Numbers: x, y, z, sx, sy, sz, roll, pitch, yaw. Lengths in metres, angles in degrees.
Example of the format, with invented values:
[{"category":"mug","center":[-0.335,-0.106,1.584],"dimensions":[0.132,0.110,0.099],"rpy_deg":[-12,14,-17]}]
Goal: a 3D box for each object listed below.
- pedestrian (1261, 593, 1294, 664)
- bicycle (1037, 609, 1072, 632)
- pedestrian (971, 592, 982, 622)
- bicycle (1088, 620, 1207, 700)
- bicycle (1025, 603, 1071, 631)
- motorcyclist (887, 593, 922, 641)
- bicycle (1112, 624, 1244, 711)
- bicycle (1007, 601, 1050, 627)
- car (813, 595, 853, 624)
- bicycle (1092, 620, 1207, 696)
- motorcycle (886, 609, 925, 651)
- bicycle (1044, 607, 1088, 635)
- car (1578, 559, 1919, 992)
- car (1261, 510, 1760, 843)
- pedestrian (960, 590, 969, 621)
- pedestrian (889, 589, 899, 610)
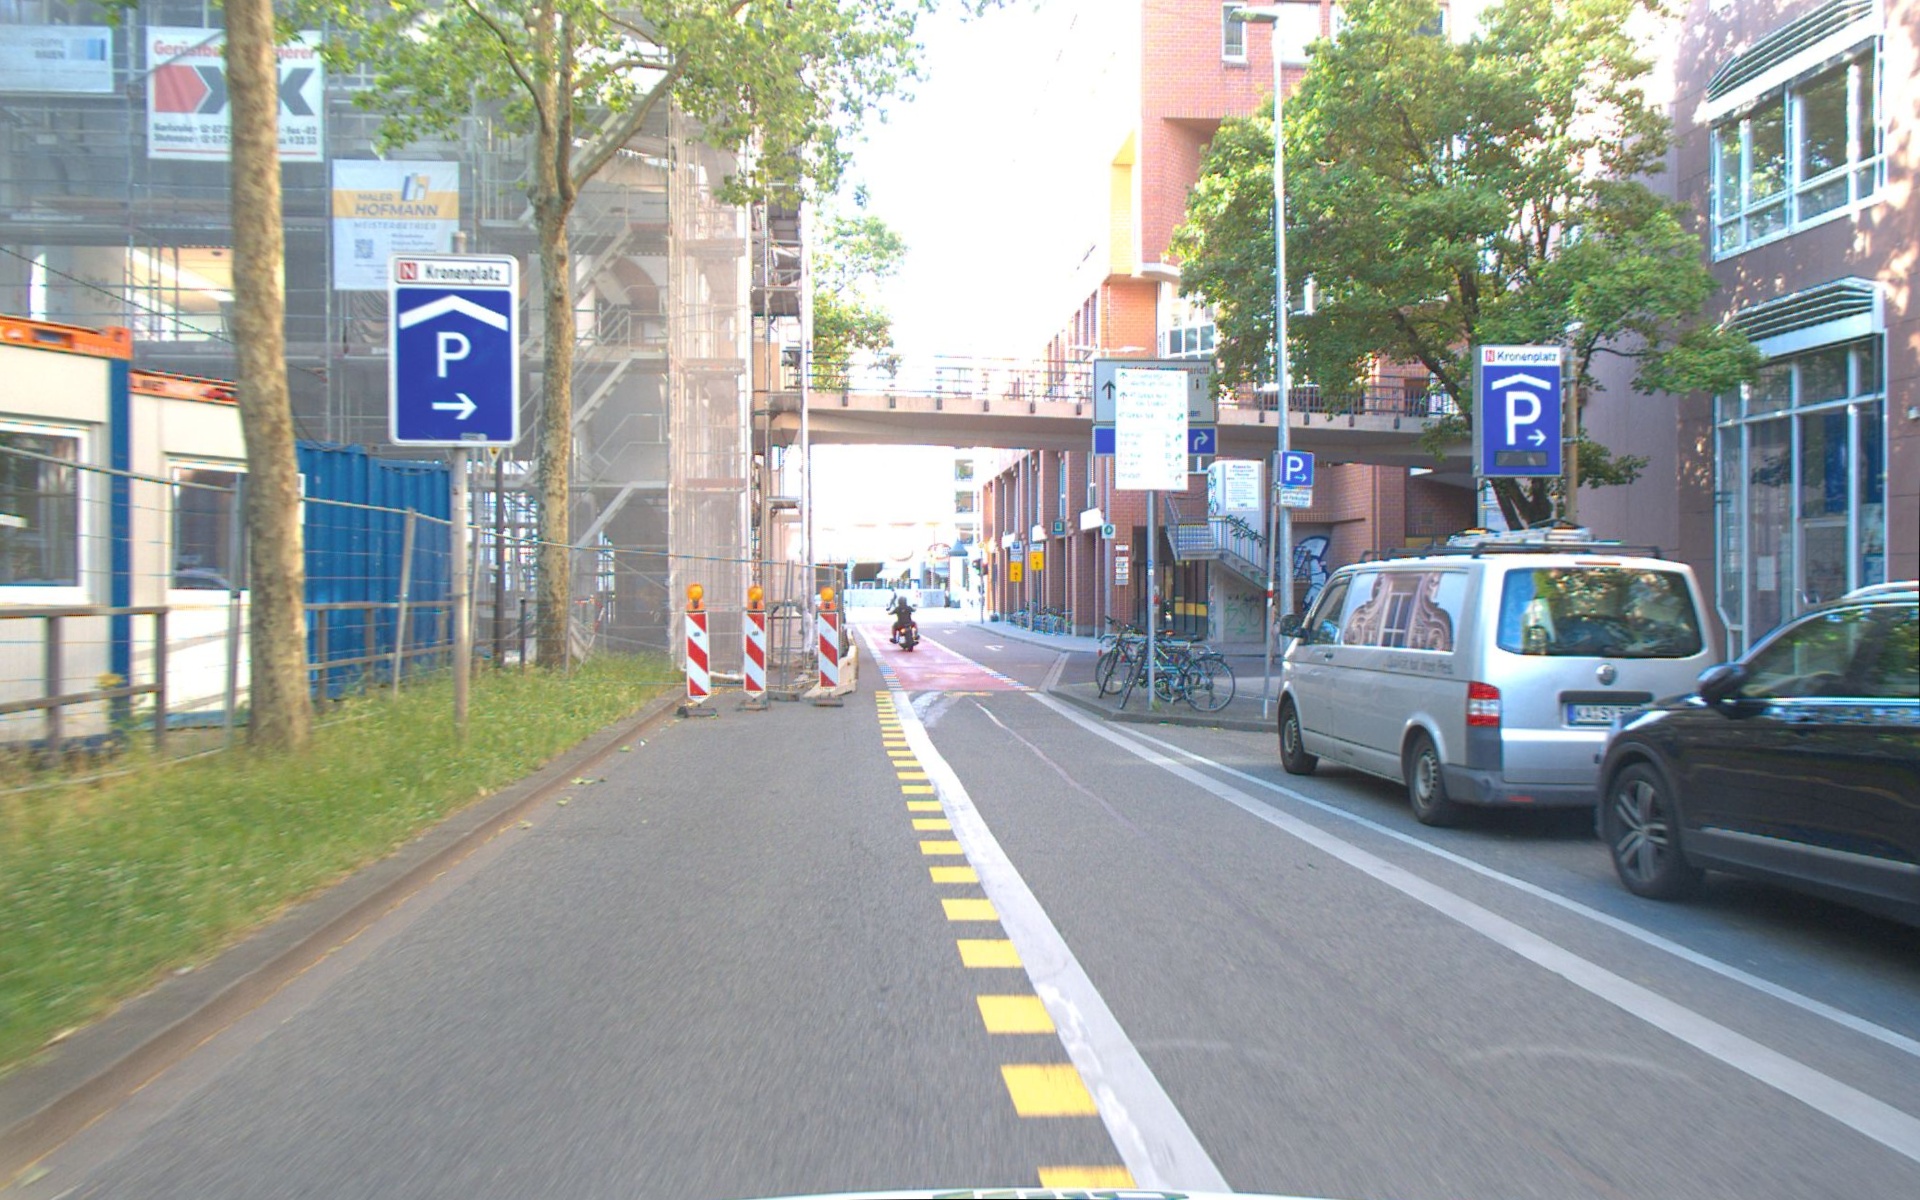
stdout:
[{"category":"pedestrian","center":[7.513,0.657,39.139],"dimensions":[0.558,1.662,0.777],"rpy_deg":[0,0,-6]},{"category":"bicycle","center":[3.743,0.802,65.560],"dimensions":[1.307,0.856,0.424],"rpy_deg":[-3,0,-3]},{"category":"pedestrian","center":[0.950,0.408,96.268],"dimensions":[0.621,1.755,0.629],"rpy_deg":[0,0,-5]},{"category":"bicycle","center":[2.691,0.853,23.809],"dimensions":[1.646,1.086,0.500],"rpy_deg":[1,0,30]},{"category":"bicycle","center":[3.696,0.696,69.720],"dimensions":[1.854,1.138,0.550],"rpy_deg":[-1,0,-5]},{"category":"motorcyclist","center":[-1.628,0.497,48.585],"dimensions":[0.951,1.370,1.136],"rpy_deg":[1,0,-5]},{"category":"bicycle","center":[2.844,0.869,21.577],"dimensions":[1.642,1.086,0.511],"rpy_deg":[0,0,18]},{"category":"bicycle","center":[3.039,0.631,73.757],"dimensions":[1.854,1.138,0.474],"rpy_deg":[-1,0,-5]},{"category":"car","center":[-6.488,0.459,84.276],"dimensions":[1.886,1.413,3.995],"rpy_deg":[0,0,-6]},{"category":"bicycle","center":[2.827,0.852,24.695],"dimensions":[1.646,1.086,0.500],"rpy_deg":[1,0,30]},{"category":"motorcycle","center":[-1.613,0.861,48.387],"dimensions":[0.954,1.151,2.802],"rpy_deg":[1,0,-5]},{"category":"bicycle","center":[4.010,0.781,62.823],"dimensions":[1.579,0.971,0.554],"rpy_deg":[-3,0,-3]},{"category":"car","center":[4.565,0.681,7.383],"dimensions":[1.752,1.699,4.195],"rpy_deg":[0,0,-5]},{"category":"car","center":[4.012,0.467,13.172],"dimensions":[1.881,2.115,5.165],"rpy_deg":[0,0,-5]},{"category":"pedestrian","center":[0.274,0.333,96.682],"dimensions":[0.466,1.824,0.540],"rpy_deg":[0,0,-5]},{"category":"pedestrian","center":[-5.190,-0.054,129.451],"dimensions":[0.547,1.611,0.537],"rpy_deg":[0,0,43]}]
